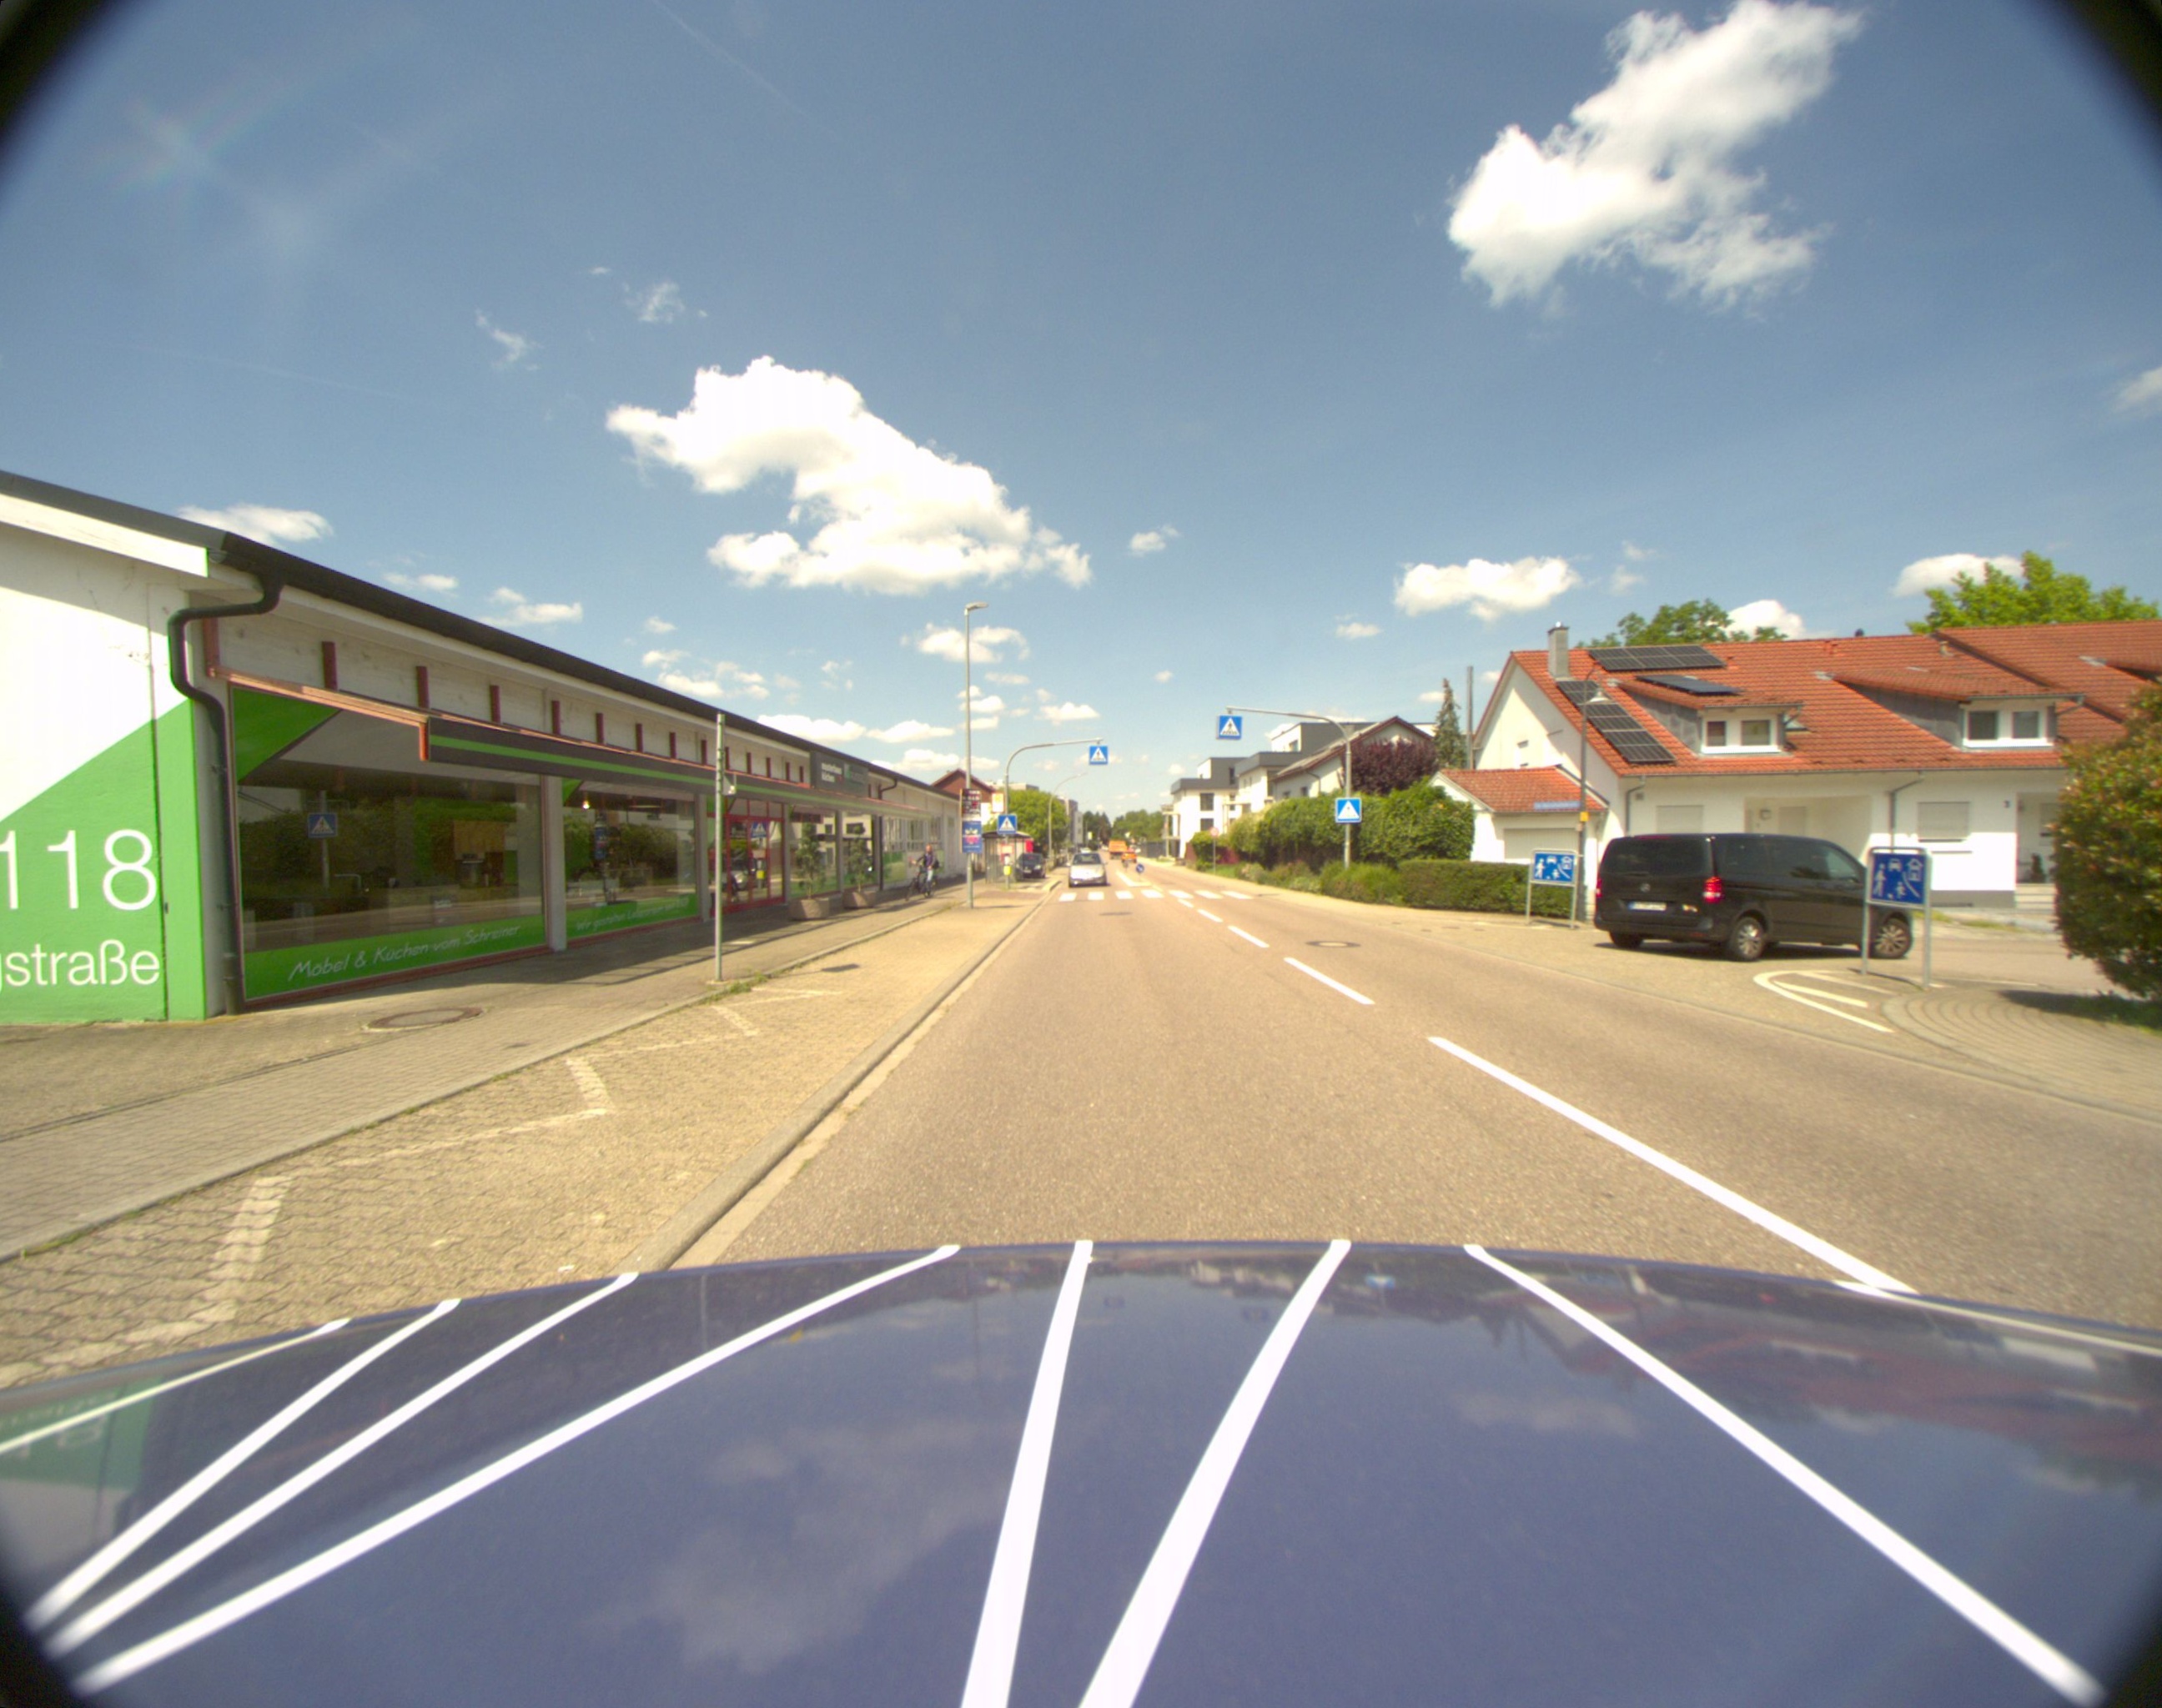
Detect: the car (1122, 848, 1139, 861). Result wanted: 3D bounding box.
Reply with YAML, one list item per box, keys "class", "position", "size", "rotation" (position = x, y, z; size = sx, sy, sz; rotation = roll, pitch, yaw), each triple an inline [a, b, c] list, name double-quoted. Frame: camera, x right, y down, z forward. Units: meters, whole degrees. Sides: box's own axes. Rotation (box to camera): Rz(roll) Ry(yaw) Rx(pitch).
- class: "car"
  position: [5.808, 0.013, 89.068]
  size: [1.799, 1.480, 3.613]
  rotation: [1, 1, 0]

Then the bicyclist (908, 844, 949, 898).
- class: "bicyclist"
  position: [-4.722, 0.512, 23.544]
  size: [0.804, 1.621, 1.113]
  rotation: [1, 2, 17]

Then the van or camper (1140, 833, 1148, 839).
- class: "van or camper"
  position: [21.452, -6.080, 257.615]
  size: [1.994, 2.217, 4.453]
  rotation: [1, 1, 16]

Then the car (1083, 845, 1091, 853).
- class: "car"
  position: [1.230, -1.040, 155.359]
  size: [1.729, 1.484, 3.760]
  rotation: [1, 1, 2]

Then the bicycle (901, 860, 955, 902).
- class: "bicycle"
  position: [-4.731, 0.817, 23.623]
  size: [0.804, 1.158, 1.945]
  rotation: [1, 2, 17]

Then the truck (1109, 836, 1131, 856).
- class: "truck"
  position: [5.664, -1.203, 111.646]
  size: [2.864, 2.695, 6.790]
  rotation: [1, 1, 0]

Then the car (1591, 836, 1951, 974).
- class: "car"
  position: [10.763, 0.676, 11.879]
  size: [5.074, 1.841, 1.996]
  rotation: [0, 1, -20]

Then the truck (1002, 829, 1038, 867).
- class: "truck"
  position: [-4.781, -0.468, 59.373]
  size: [2.580, 2.745, 6.331]
  rotation: [0, 1, -5]

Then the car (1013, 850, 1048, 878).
- class: "car"
  position: [-2.883, 0.548, 44.241]
  size: [1.729, 1.484, 3.759]
  rotation: [1, 1, 0]

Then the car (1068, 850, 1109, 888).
- class: "car"
  position: [0.337, 0.641, 35.480]
  size: [1.723, 1.590, 3.759]
  rotation: [-3, 1, 0]
